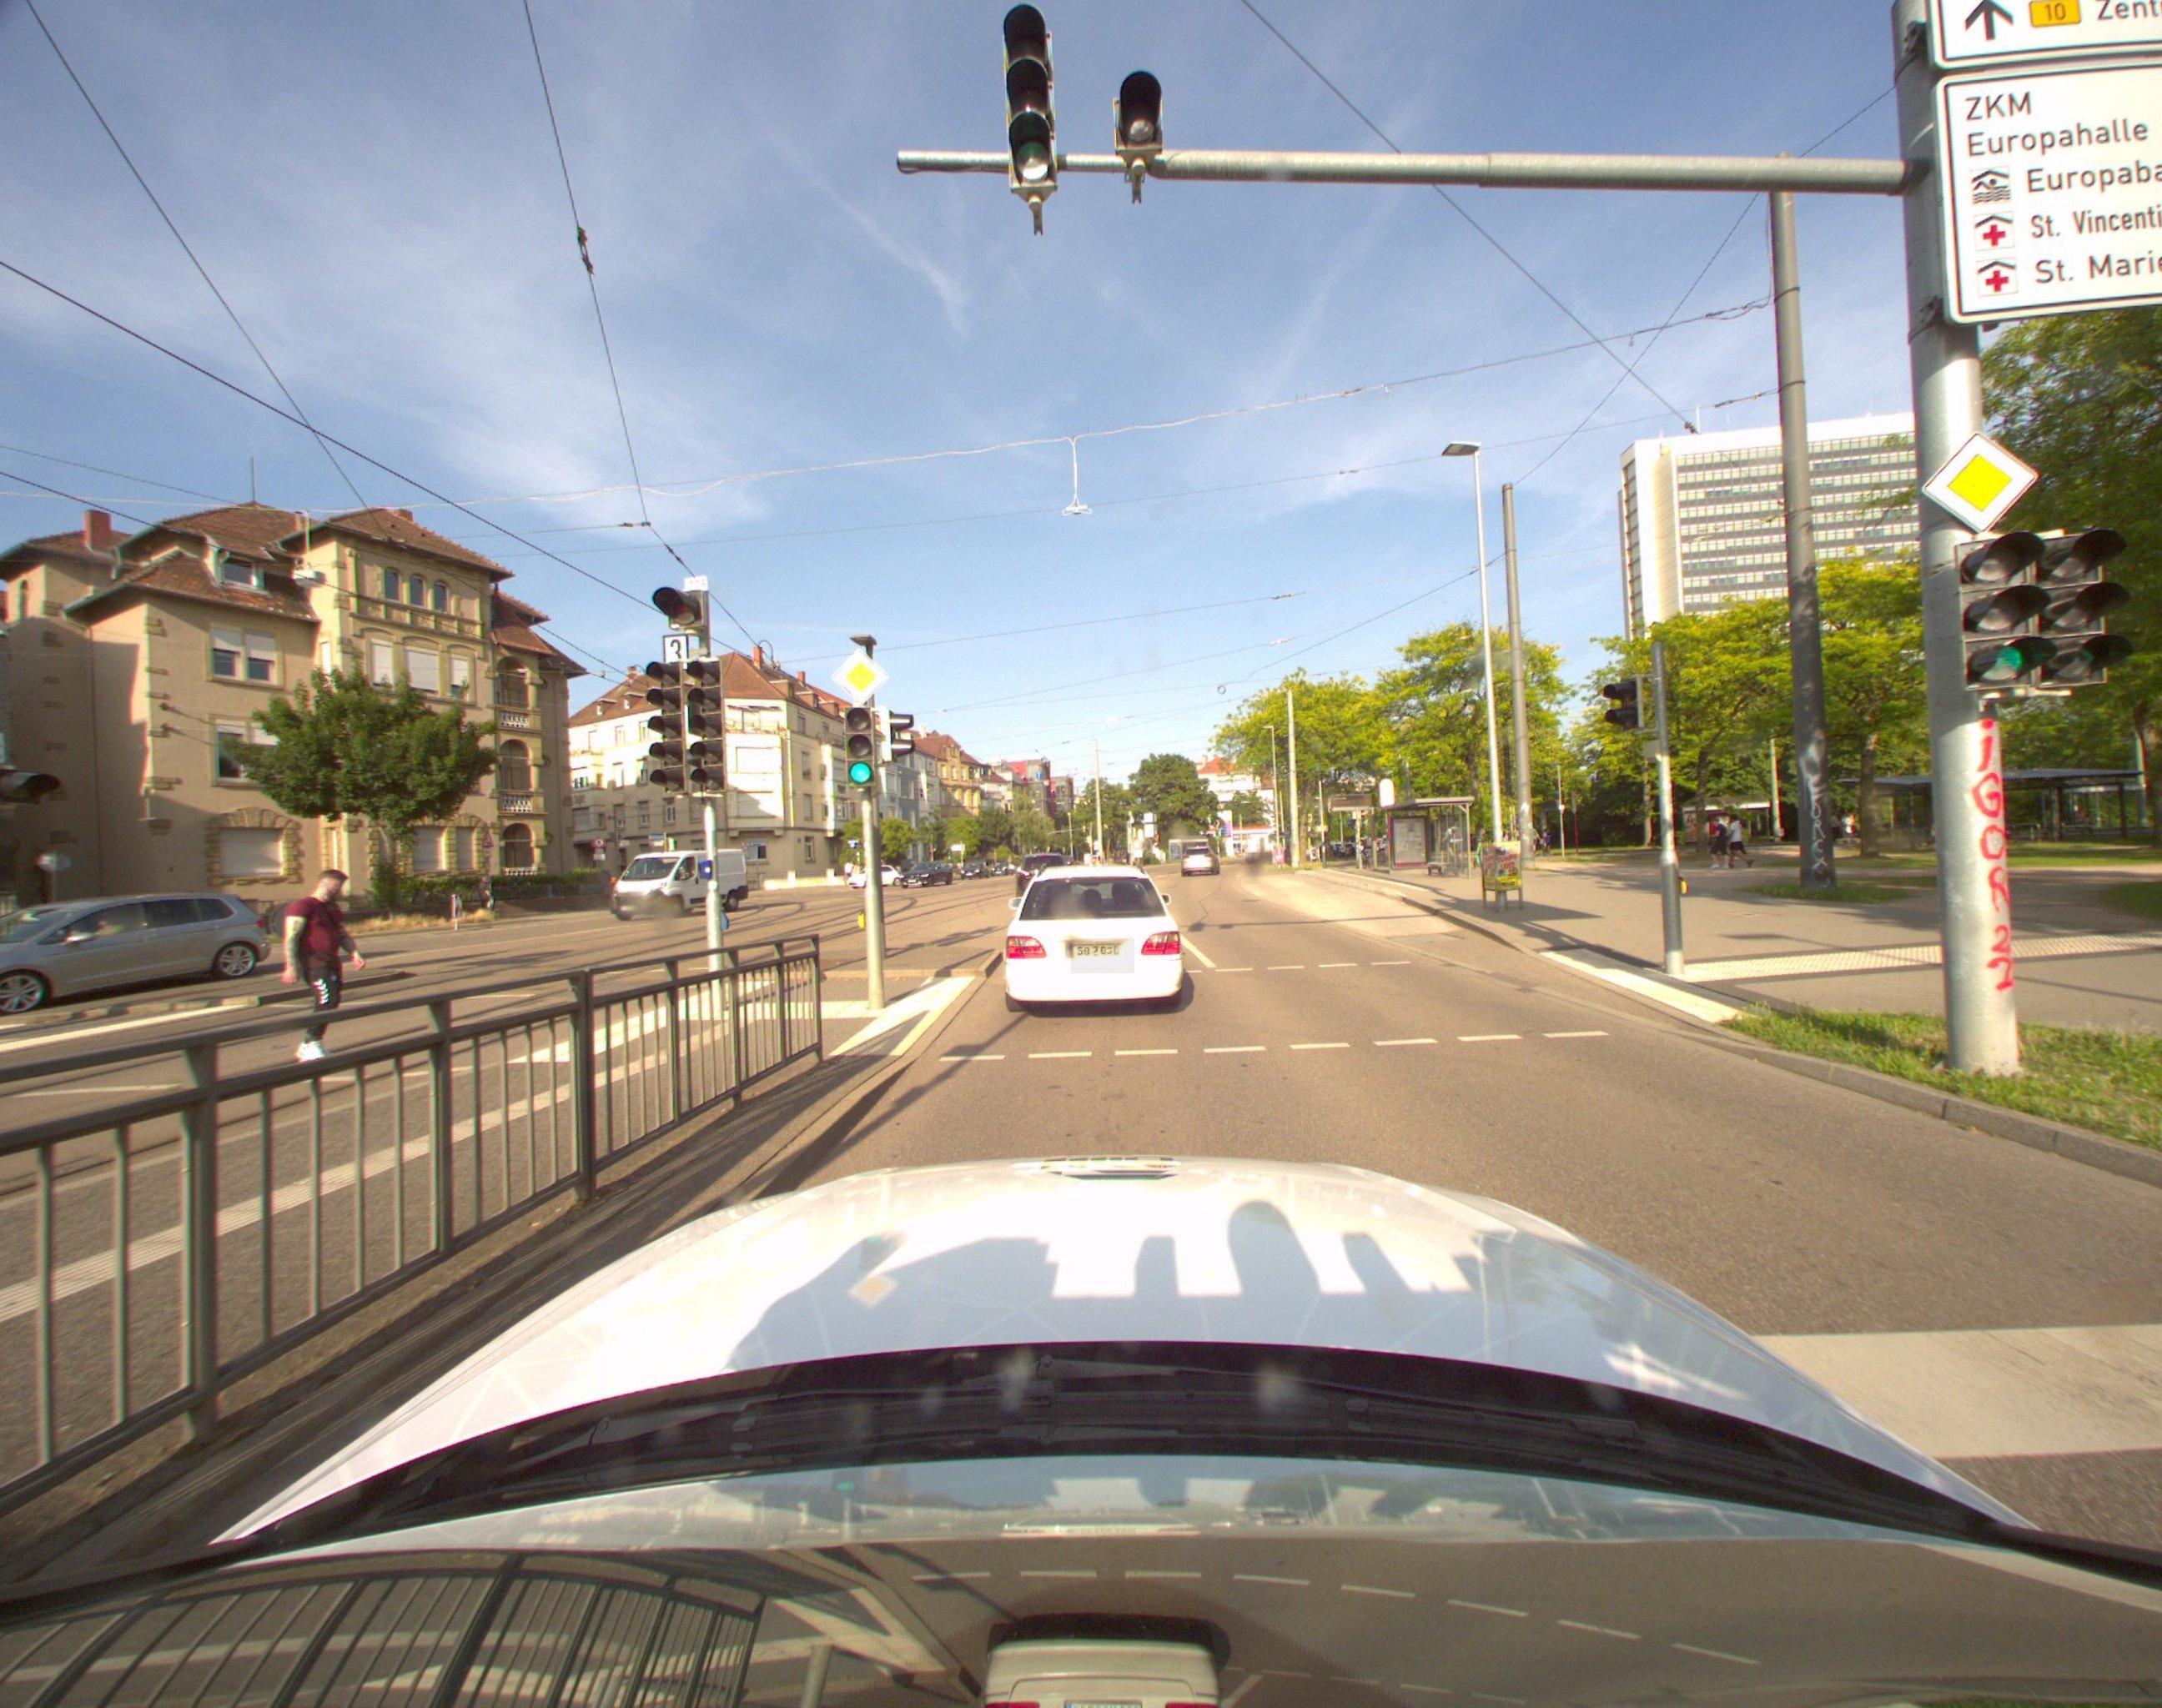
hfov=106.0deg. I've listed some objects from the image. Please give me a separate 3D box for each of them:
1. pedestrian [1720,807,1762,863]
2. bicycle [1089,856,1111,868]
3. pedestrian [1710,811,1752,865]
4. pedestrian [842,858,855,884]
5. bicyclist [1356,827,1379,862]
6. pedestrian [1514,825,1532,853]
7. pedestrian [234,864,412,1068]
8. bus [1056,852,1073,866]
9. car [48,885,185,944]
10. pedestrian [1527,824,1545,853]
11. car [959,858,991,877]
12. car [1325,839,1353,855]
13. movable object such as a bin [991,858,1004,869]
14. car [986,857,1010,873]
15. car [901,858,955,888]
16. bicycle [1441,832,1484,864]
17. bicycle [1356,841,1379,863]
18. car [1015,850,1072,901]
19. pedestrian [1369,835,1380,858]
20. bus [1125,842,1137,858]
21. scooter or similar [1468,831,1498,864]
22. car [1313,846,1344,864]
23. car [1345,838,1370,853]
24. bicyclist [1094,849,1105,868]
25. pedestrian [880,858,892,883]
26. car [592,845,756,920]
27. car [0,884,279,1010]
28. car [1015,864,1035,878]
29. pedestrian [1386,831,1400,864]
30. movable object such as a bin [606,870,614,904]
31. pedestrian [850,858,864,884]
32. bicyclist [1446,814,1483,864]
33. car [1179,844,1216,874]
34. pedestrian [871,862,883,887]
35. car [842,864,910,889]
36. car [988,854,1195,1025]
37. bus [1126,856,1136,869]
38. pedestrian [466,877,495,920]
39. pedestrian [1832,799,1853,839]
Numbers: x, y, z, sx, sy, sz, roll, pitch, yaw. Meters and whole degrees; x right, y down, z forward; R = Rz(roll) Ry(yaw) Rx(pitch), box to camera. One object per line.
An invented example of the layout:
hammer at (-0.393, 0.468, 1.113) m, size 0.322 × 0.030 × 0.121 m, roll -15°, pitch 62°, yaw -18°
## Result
pedestrian at (22.565, -0.630, 27.849) m, size 0.674 × 1.897 × 0.872 m, roll 0°, pitch -1°, yaw -26°
bicycle at (1.761, 0.735, 75.611) m, size 1.907 × 0.994 × 0.727 m, roll -5°, pitch 0°, yaw 1°
pedestrian at (21.926, -0.526, 27.494) m, size 0.673 × 1.777 × 0.874 m, roll 0°, pitch 0°, yaw -18°
pedestrian at (-16.942, 1.241, 59.315) m, size 0.654 × 1.881 × 0.628 m, roll -3°, pitch 0°, yaw 11°
bicyclist at (15.227, -0.504, 43.272) m, size 0.716 × 1.745 × 1.142 m, roll -6°, pitch -1°, yaw 5°
pedestrian at (26.498, -0.907, 48.785) m, size 0.638 × 1.665 × 0.691 m, roll -3°, pitch 0°, yaw 1°
pedestrian at (-6.651, 0.952, 7.185) m, size 0.876 × 1.670 × 0.672 m, roll -3°, pitch 0°, yaw 3°
bus at (-2.034, 0.562, 102.750) m, size 1.837 × 1.636 × 4.160 m, roll -3°, pitch 0°, yaw 1°
car at (-30.245, 1.881, 25.540) m, size 3.950 × 1.632 × 1.787 m, roll -3°, pitch 0°, yaw 26°
pedestrian at (26.755, -0.918, 47.914) m, size 0.638 × 1.665 × 0.691 m, roll -3°, pitch 0°, yaw 1°
car at (-8.873, 1.102, 68.487) m, size 1.758 × 1.433 × 4.006 m, roll -3°, pitch 0°, yaw 5°
car at (26.720, -0.739, 84.231) m, size 1.836 × 1.515 × 4.025 m, roll -4°, pitch -1°, yaw 30°
movable object such as a bin at (-10.963, 1.242, 107.030) m, size 1.601 × 1.421 × 1.082 m, roll -3°, pitch 0°, yaw -6°
car at (-8.147, 1.099, 80.575) m, size 1.626 × 1.433 × 3.634 m, roll -3°, pitch 0°, yaw 5°
car at (-9.206, 1.130, 49.369) m, size 1.757 × 1.494 × 4.754 m, roll -3°, pitch 1°, yaw 7°
bicycle at (14.035, -0.224, 30.024) m, size 0.638 × 1.088 × 1.940 m, roll -5°, pitch 0°, yaw 1°
bicycle at (15.299, -0.090, 43.540) m, size 0.637 × 1.088 × 1.736 m, roll -5°, pitch 0°, yaw 5°
car at (-1.212, 0.695, 27.937) m, size 1.635 × 1.600 × 3.816 m, roll -1°, pitch 0°, yaw 1°
pedestrian at (21.643, -0.532, 59.992) m, size 0.636 × 1.665 × 0.694 m, roll -3°, pitch 0°, yaw 17°
bus at (8.077, -0.590, 131.308) m, size 1.790 × 2.555 × 4.003 m, roll 0°, pitch -1°, yaw 3°
scooter or similar at (15.355, -0.245, 31.141) m, size 0.351 × 1.232 × 1.131 m, roll -3°, pitch 0°, yaw -13°
car at (24.034, 0.085, 79.103) m, size 1.835 × 1.515 × 4.026 m, roll -4°, pitch -1°, yaw 31°
car at (31.686, -1.030, 93.238) m, size 1.836 × 1.515 × 4.025 m, roll -4°, pitch -1°, yaw 30°
bicyclist at (1.701, 0.381, 75.611) m, size 0.896 × 1.699 × 0.733 m, roll -4°, pitch 0°, yaw 2°
pedestrian at (-14.819, 1.238, 61.889) m, size 0.581 × 1.881 × 0.628 m, roll -3°, pitch 0°, yaw 6°
car at (-13.630, 0.865, 27.768) m, size 2.163 × 2.239 × 5.269 m, roll -3°, pitch 0°, yaw 11°
car at (-15.603, 1.396, 12.735) m, size 1.667 × 1.526 × 4.133 m, roll -3°, pitch 1°, yaw 7°
car at (-6.581, 1.948, 95.571) m, size 1.681 × 1.441 × 4.006 m, roll -3°, pitch 0°, yaw 5°
pedestrian at (17.107, -0.340, 44.689) m, size 0.574 × 1.777 × 0.589 m, roll 0°, pitch 0°, yaw 9°
movable object such as a bin at (-24.412, 1.681, 42.249) m, size 0.265 × 1.709 × 2.360 m, roll -3°, pitch 0°, yaw -29°
pedestrian at (-16.253, 1.230, 59.197) m, size 0.670 × 1.848 × 0.651 m, roll -3°, pitch 0°, yaw 9°
bicyclist at (14.005, -0.525, 29.786) m, size 0.647 × 1.745 × 1.140 m, roll -6°, pitch -1°, yaw 0°
car at (6.428, 0.273, 45.260) m, size 1.827 × 1.600 × 3.820 m, roll -1°, pitch 0°, yaw 5°
pedestrian at (-15.484, 1.557, 61.855) m, size 0.581 × 1.881 × 0.627 m, roll -3°, pitch 0°, yaw 5°
car at (-13.766, 1.517, 54.839) m, size 1.777 × 1.457 × 4.025 m, roll -3°, pitch 0°, yaw 42°
car at (0.144, 0.767, 9.188) m, size 1.828 × 1.501 × 3.816 m, roll -1°, pitch 0°, yaw 1°
bus at (8.984, 1.498, 146.926) m, size 1.790 × 2.333 × 4.002 m, roll 0°, pitch -1°, yaw 2°
pedestrian at (-23.455, 1.739, 31.813) m, size 0.672 × 1.651 × 0.608 m, roll -3°, pitch -1°, yaw 28°
pedestrian at (36.762, -1.681, 39.308) m, size 0.462 × 1.868 × 0.601 m, roll 0°, pitch -1°, yaw -25°
